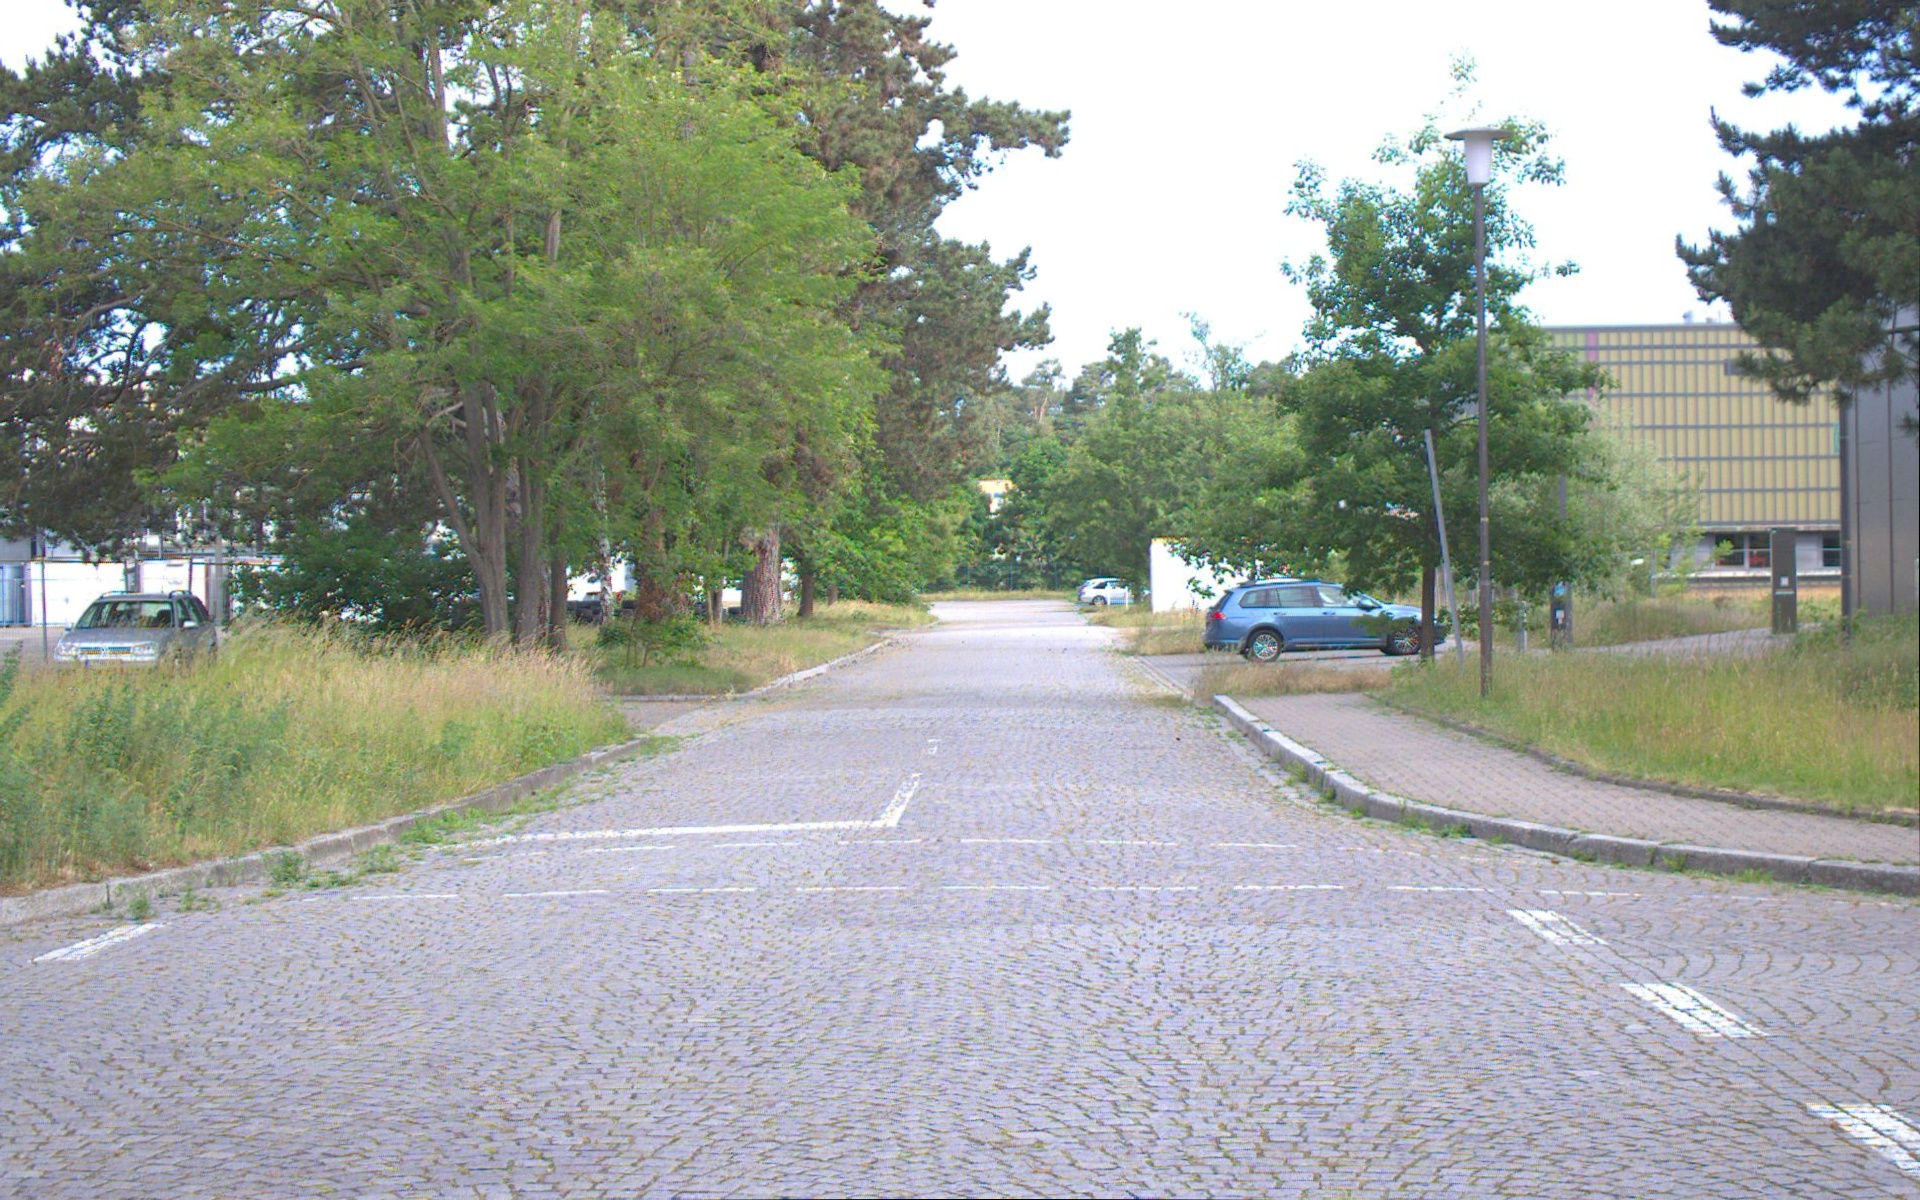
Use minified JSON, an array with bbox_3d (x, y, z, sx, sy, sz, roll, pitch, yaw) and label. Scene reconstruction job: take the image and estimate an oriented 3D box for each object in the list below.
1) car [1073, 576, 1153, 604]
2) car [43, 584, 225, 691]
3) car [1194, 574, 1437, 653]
[{"bbox_3d":[8.076,-0.538,181.911,3.986,1.393,2.000,-1,0,-4],"label":"car"},{"bbox_3d":[-12.069,0.517,50.443,1.613,1.482,4.000,0,0,1],"label":"car"},{"bbox_3d":[6.662,0.248,64.831,4.344,1.417,2.000,-1,0,-1],"label":"car"}]
